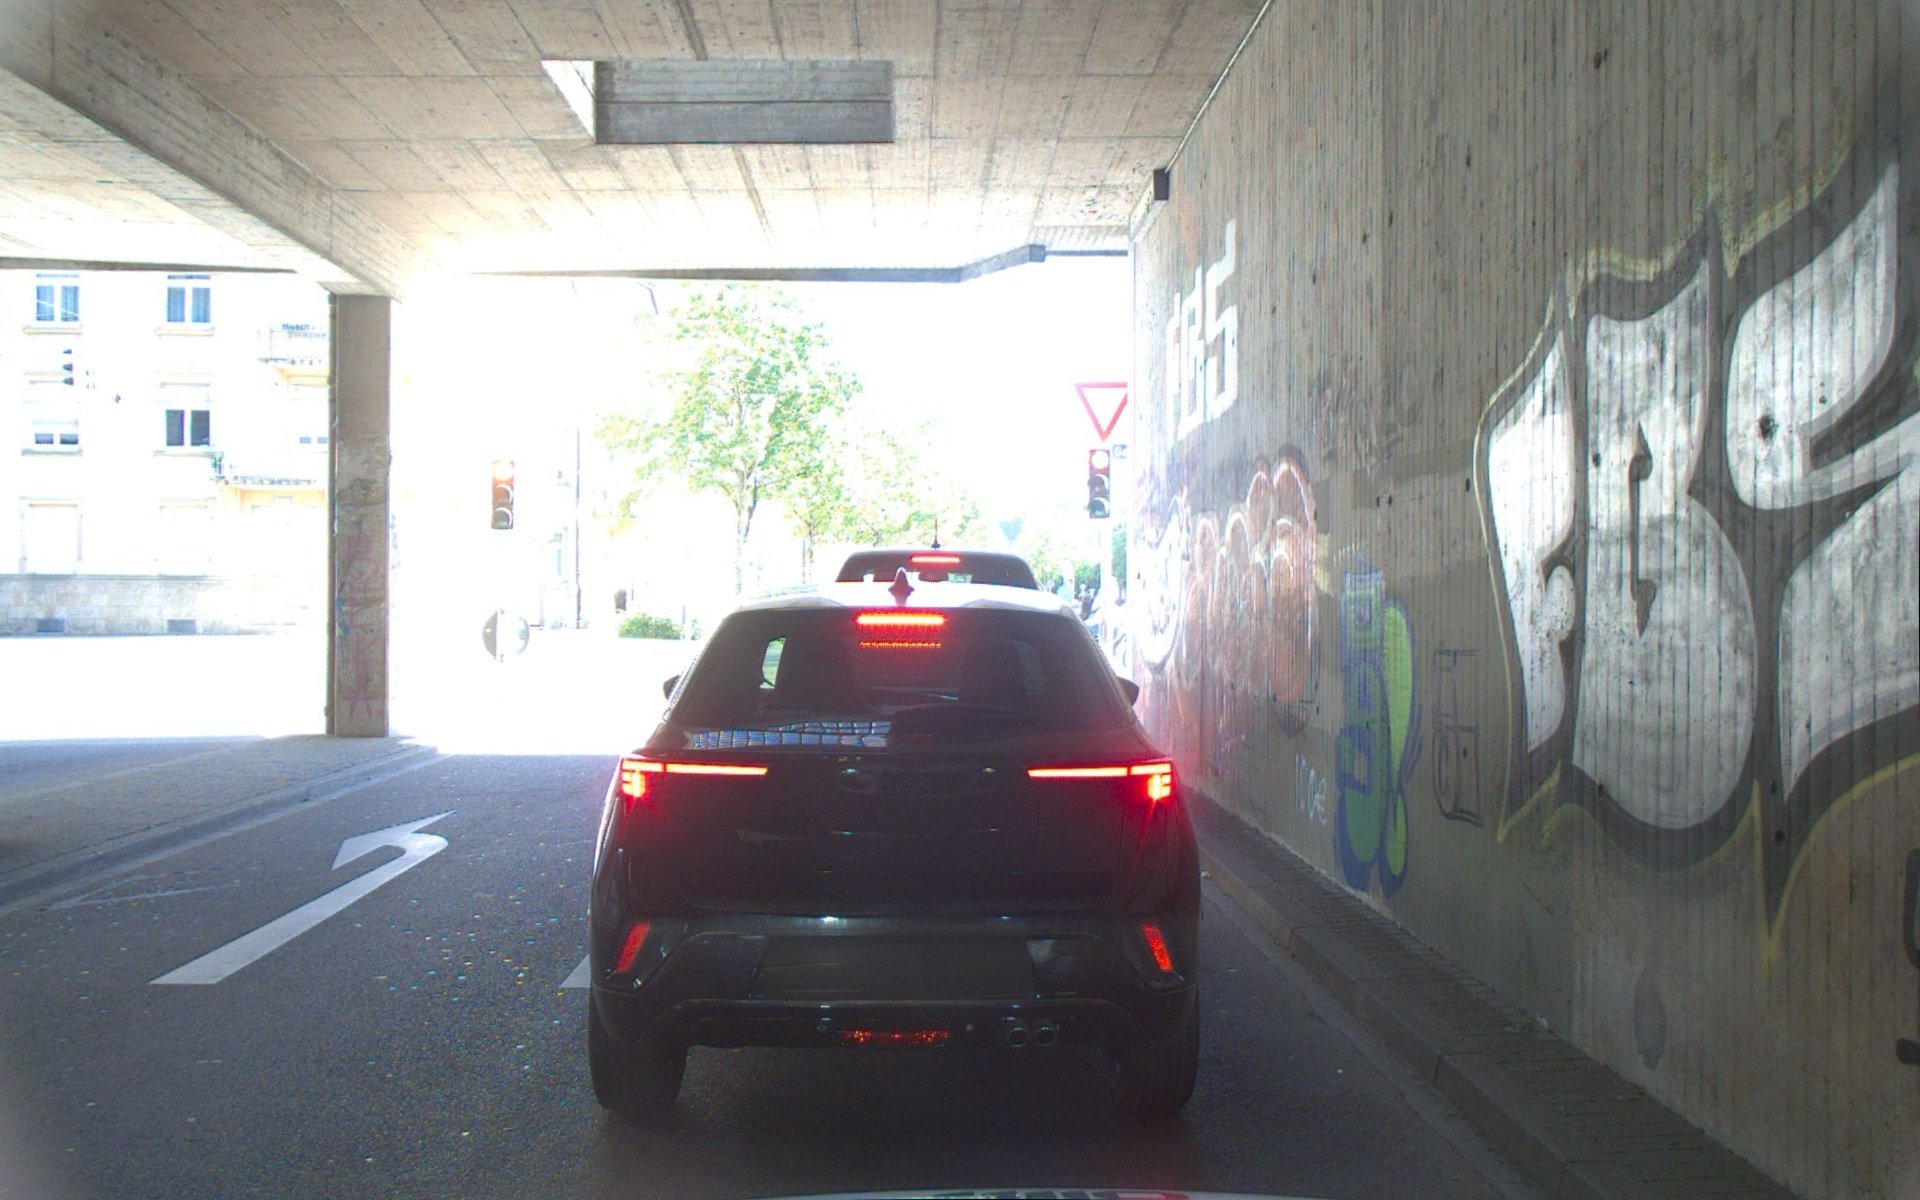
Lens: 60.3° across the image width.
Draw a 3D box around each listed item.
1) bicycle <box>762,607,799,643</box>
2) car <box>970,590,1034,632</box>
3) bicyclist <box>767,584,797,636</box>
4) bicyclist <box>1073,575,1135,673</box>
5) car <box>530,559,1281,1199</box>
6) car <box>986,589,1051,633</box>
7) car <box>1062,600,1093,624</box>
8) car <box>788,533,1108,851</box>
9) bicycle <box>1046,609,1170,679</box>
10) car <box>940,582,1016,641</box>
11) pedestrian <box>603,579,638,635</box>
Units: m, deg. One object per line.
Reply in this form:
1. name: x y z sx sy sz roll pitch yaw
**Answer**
1. bicycle: -5.562 0.770 51.420 0.716 1.086 1.690 1 0 9
2. car: 1.617 0.445 62.214 1.926 1.523 3.899 0 -1 8
3. bicyclist: -5.543 0.304 51.453 0.713 1.609 0.815 1 -1 9
4. bicyclist: 2.222 0.357 25.614 0.852 1.477 0.745 -1 0 -3
5. car: -0.158 0.675 6.058 1.844 1.565 3.963 0 0 -1
6. car: 2.462 0.488 69.036 2.173 1.749 4.463 0 -1 9
7. car: 8.614 0.848 120.601 1.951 1.691 4.003 1 0 8
8. car: -0.099 0.536 11.883 1.906 1.892 3.963 0 0 -1
9. bicycle: 2.279 0.673 25.644 1.818 1.026 0.745 -1 0 -3
10. car: 0.493 0.339 44.177 1.927 1.523 3.896 0 -1 1
11. pedestrian: -12.521 0.268 61.072 0.971 2.049 1.089 0 0 7
